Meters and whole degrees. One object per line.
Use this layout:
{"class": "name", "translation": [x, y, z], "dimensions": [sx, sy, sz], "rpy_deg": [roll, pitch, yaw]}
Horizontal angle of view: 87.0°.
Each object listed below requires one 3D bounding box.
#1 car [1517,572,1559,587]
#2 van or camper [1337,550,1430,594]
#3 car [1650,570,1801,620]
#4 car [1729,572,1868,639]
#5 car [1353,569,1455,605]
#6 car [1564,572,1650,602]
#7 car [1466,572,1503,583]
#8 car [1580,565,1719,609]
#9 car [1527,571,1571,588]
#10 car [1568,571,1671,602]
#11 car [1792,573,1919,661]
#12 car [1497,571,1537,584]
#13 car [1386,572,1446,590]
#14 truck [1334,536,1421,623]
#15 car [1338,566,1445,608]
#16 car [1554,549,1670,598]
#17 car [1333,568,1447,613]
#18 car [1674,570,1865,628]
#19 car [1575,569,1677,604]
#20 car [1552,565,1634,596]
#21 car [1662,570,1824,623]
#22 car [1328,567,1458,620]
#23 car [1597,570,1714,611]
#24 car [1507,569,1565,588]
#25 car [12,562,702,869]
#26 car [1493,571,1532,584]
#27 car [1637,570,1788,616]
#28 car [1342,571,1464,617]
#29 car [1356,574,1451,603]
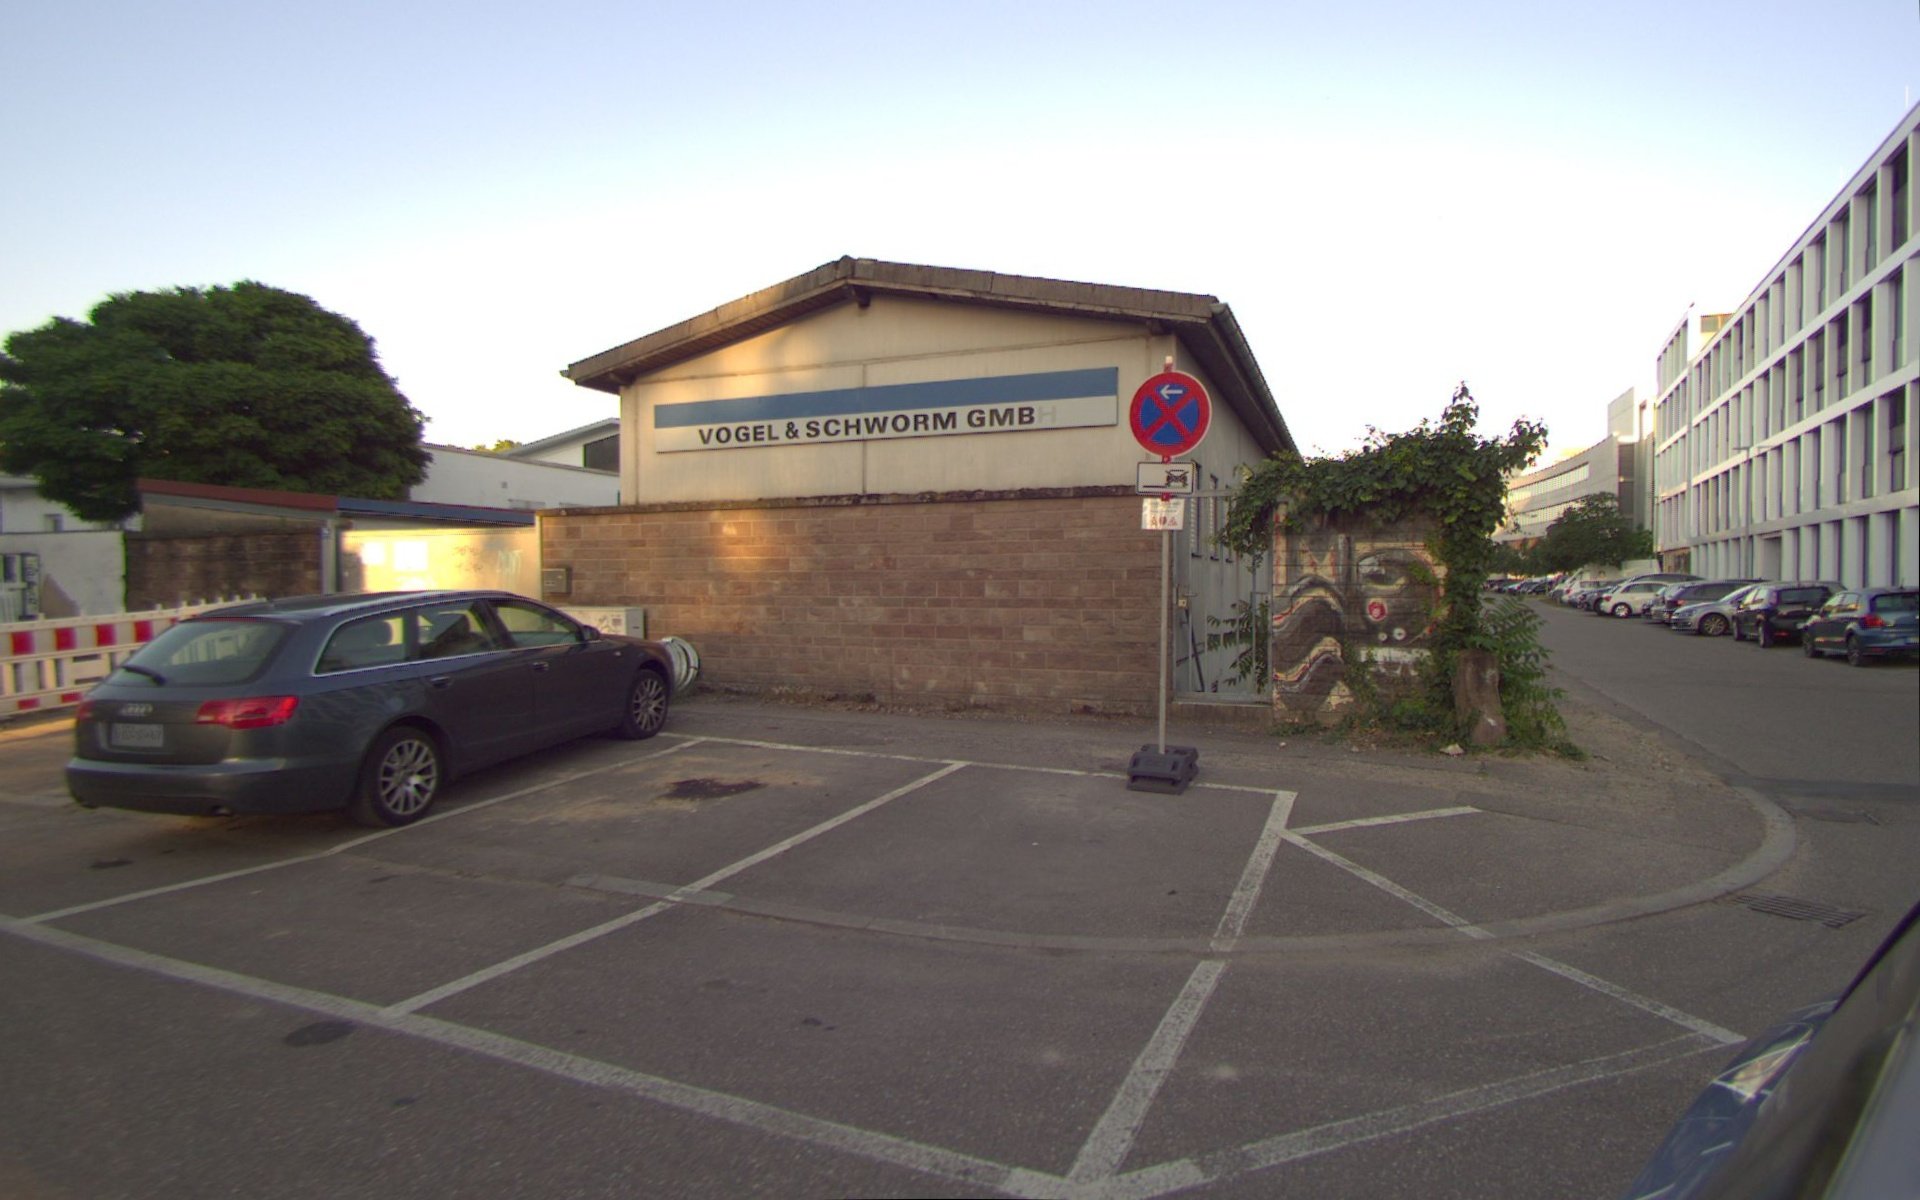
{"class": "car", "translation": [59.710, -2.142, 104.600], "dimensions": [3.619, 1.442, 1.711], "rpy_deg": [-1, 1, 26]}
{"class": "van or camper", "translation": [29.052, -1.951, 69.532], "dimensions": [5.738, 2.899, 2.467], "rpy_deg": [2, 2, 25]}
{"class": "car", "translation": [24.636, -0.162, 32.747], "dimensions": [3.632, 1.530, 1.671], "rpy_deg": [-1, 0, 28]}
{"class": "car", "translation": [20.615, 0.087, 25.068], "dimensions": [1.636, 1.457, 4.165], "rpy_deg": [-4, 0, 26]}
{"class": "car", "translation": [20.256, -0.598, 46.166], "dimensions": [4.176, 1.521, 1.873], "rpy_deg": [-1, 2, 28]}
{"class": "car", "translation": [34.568, -0.700, 54.200], "dimensions": [3.684, 1.514, 1.691], "rpy_deg": [-1, 0, 28]}
{"class": "car", "translation": [69.207, -2.930, 133.644], "dimensions": [3.971, 1.365, 1.791], "rpy_deg": [-2, 1, 16]}
{"class": "car", "translation": [28.472, -0.520, 42.000], "dimensions": [4.596, 1.727, 1.983], "rpy_deg": [-1, 0, 31]}
{"class": "car", "translation": [57.885, -2.017, 99.532], "dimensions": [3.621, 1.567, 1.710], "rpy_deg": [-1, 0, 27]}
{"class": "car", "translation": [33.680, -0.692, 51.827], "dimensions": [4.283, 1.514, 1.777], "rpy_deg": [-1, 0, 29]}
{"class": "car", "translation": [18.015, 0.267, 19.724], "dimensions": [1.635, 1.457, 4.151], "rpy_deg": [-3, 0, 24]}
{"class": "car", "translation": [63.791, -2.566, 115.956], "dimensions": [3.768, 1.378, 1.787], "rpy_deg": [-2, 1, 21]}
{"class": "car", "translation": [36.547, -1.525, 81.230], "dimensions": [4.282, 1.350, 1.881], "rpy_deg": [2, 2, 24]}
{"class": "truck", "translation": [12.034, -0.552, 28.937], "dimensions": [2.082, 2.228, 5.662], "rpy_deg": [1, 1, 25]}
{"class": "car", "translation": [17.720, -0.521, 41.702], "dimensions": [3.950, 1.639, 1.814], "rpy_deg": [-1, 1, 23]}
{"class": "car", "translation": [37.213, -1.483, 57.954], "dimensions": [5.349, 2.666, 2.057], "rpy_deg": [-1, 0, 29]}
{"class": "car", "translation": [16.661, -0.369, 39.258], "dimensions": [3.954, 1.629, 1.923], "rpy_deg": [-1, 1, 25]}
{"class": "car", "translation": [22.488, -0.023, 28.311], "dimensions": [3.903, 1.530, 1.671], "rpy_deg": [-1, 0, 29]}
{"class": "car", "translation": [31.185, -0.615, 47.477], "dimensions": [3.755, 1.541, 1.679], "rpy_deg": [-1, 0, 26]}
{"class": "car", "translation": [39.270, -1.196, 62.902], "dimensions": [4.075, 1.840, 1.802], "rpy_deg": [-1, 0, 24]}
{"class": "car", "translation": [23.688, -0.091, 30.778], "dimensions": [3.632, 1.530, 1.671], "rpy_deg": [-1, 0, 28]}
{"class": "car", "translation": [13.944, -0.211, 32.561], "dimensions": [3.735, 1.554, 1.874], "rpy_deg": [0, 2, 27]}
{"class": "car", "translation": [27.224, -0.375, 39.768], "dimensions": [3.648, 1.530, 1.678], "rpy_deg": [-1, 0, 31]}
{"class": "car", "translation": [60.756, -2.275, 106.808], "dimensions": [5.023, 1.904, 1.876], "rpy_deg": [-2, 0, 22]}
{"class": "car", "translation": [-4.006, 0.530, 7.908], "dimensions": [1.806, 1.549, 4.710], "rpy_deg": [0, 3, 15]}
{"class": "car", "translation": [64.778, -2.590, 118.625], "dimensions": [3.768, 1.378, 1.787], "rpy_deg": [-2, 1, 21]}
{"class": "car", "translation": [25.928, -0.230, 35.039], "dimensions": [3.941, 1.530, 1.778], "rpy_deg": [-1, 0, 29]}
{"class": "car", "translation": [15.138, -0.215, 34.667], "dimensions": [3.731, 1.462, 1.830], "rpy_deg": [-1, 2, 25]}
{"class": "car", "translation": [22.247, -0.585, 50.792], "dimensions": [4.179, 1.384, 1.805], "rpy_deg": [-1, 1, 30]}
